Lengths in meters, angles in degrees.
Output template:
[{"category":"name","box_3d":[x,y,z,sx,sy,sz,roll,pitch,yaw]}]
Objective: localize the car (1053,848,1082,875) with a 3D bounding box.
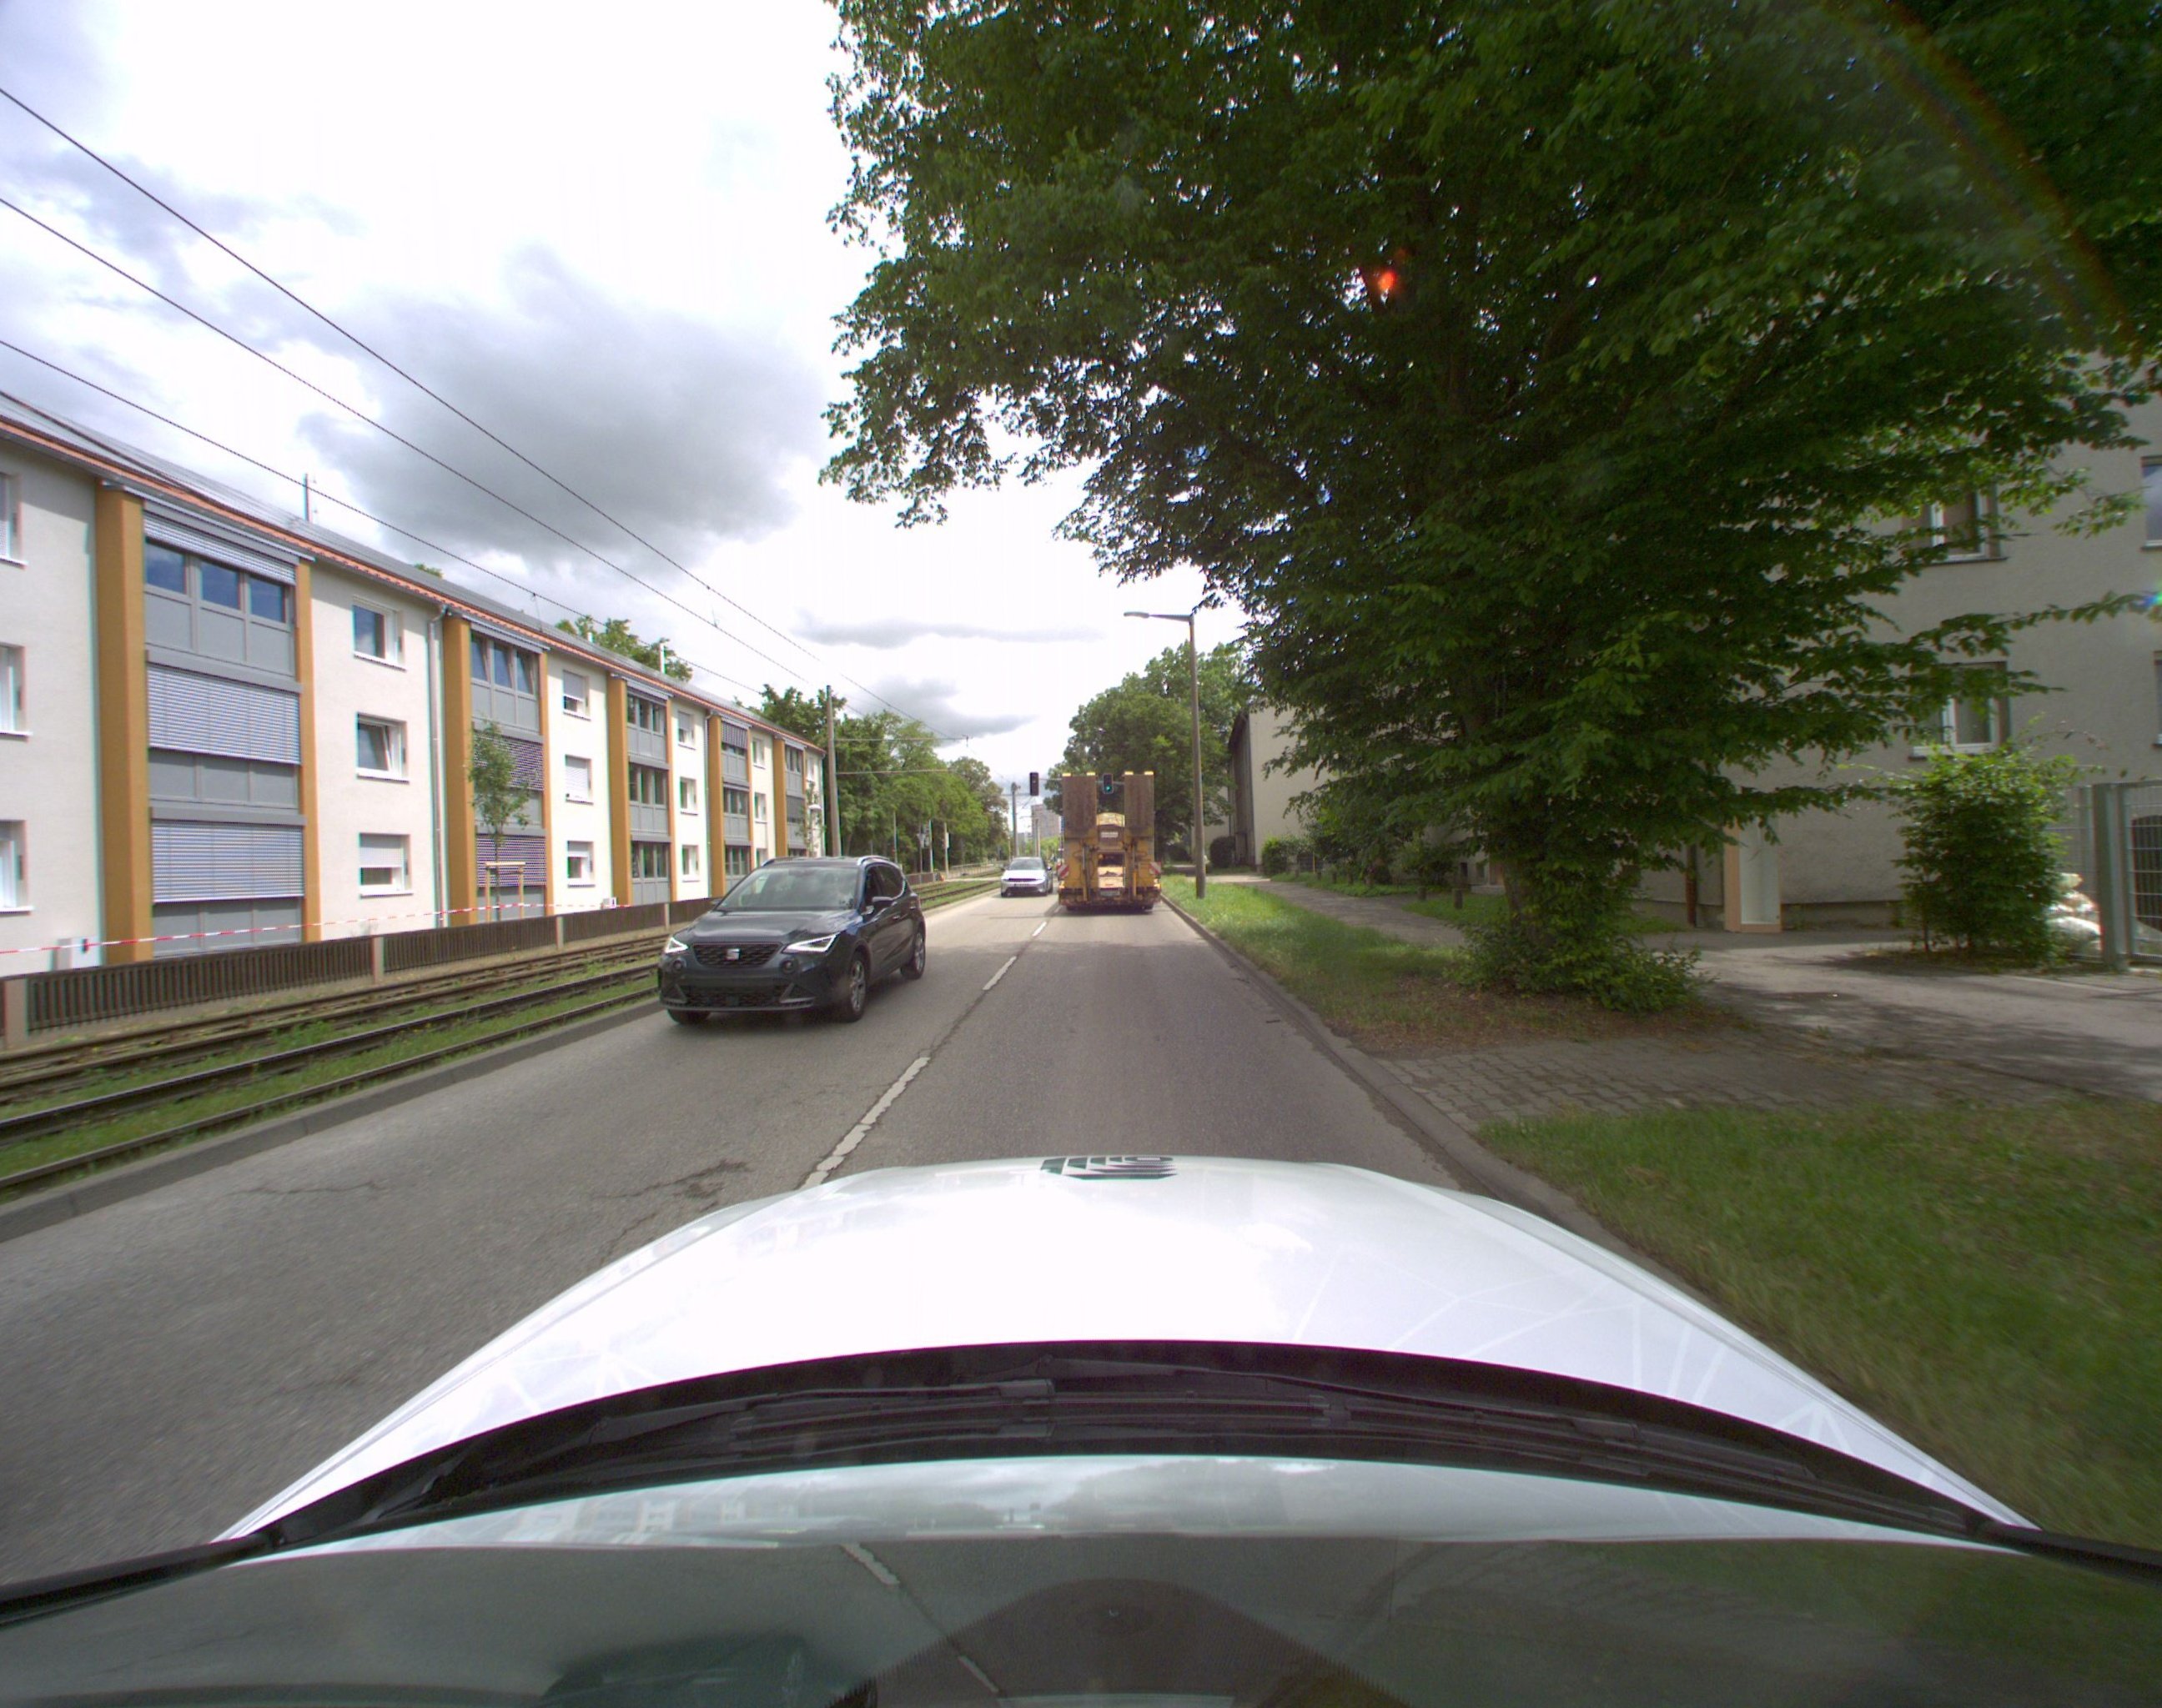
[{"category":"car","box_3d":[-0.984,0.528,61.994,1.935,1.940,4.319,-1,0,2]}]

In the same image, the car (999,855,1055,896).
[{"category":"car","box_3d":[-1.988,0.784,31.090,1.723,1.417,3.986,-1,0,2]}]

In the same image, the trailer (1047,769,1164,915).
[{"category":"trailer","box_3d":[0.706,-0.289,25.410,2.812,3.524,11.054,-1,0,1]}]

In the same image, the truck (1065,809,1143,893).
[{"category":"truck","box_3d":[0.983,-0.116,34.764,2.906,3.167,7.683,-1,0,2]}]

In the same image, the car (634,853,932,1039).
[{"category":"car","box_3d":[-2.843,0.769,8.736,1.644,1.520,3.867,-1,0,2]}]
